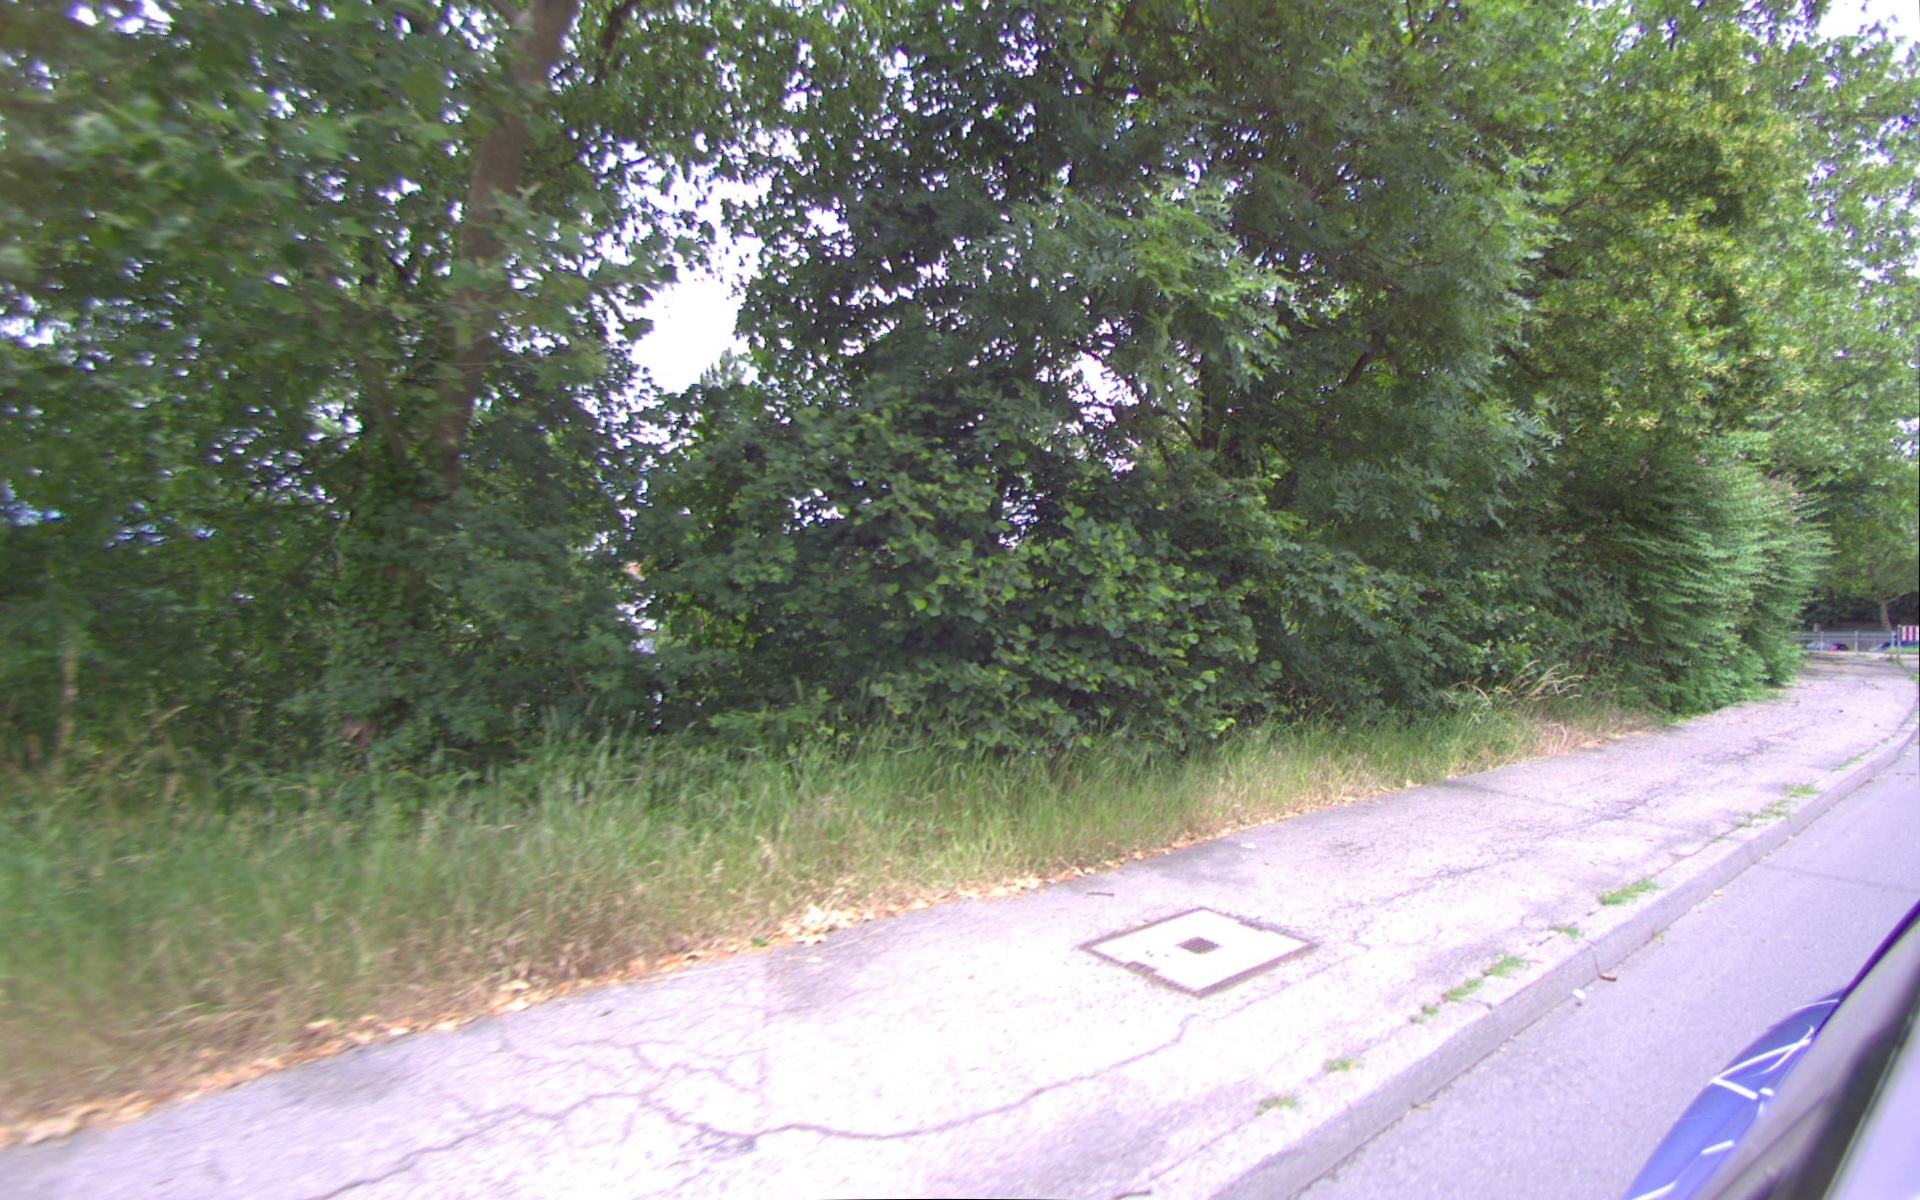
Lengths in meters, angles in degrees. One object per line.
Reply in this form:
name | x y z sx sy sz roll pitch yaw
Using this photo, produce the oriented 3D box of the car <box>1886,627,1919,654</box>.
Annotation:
car | 56.432 2.378 58.557 1.763 1.447 4.146 5 -2 0
